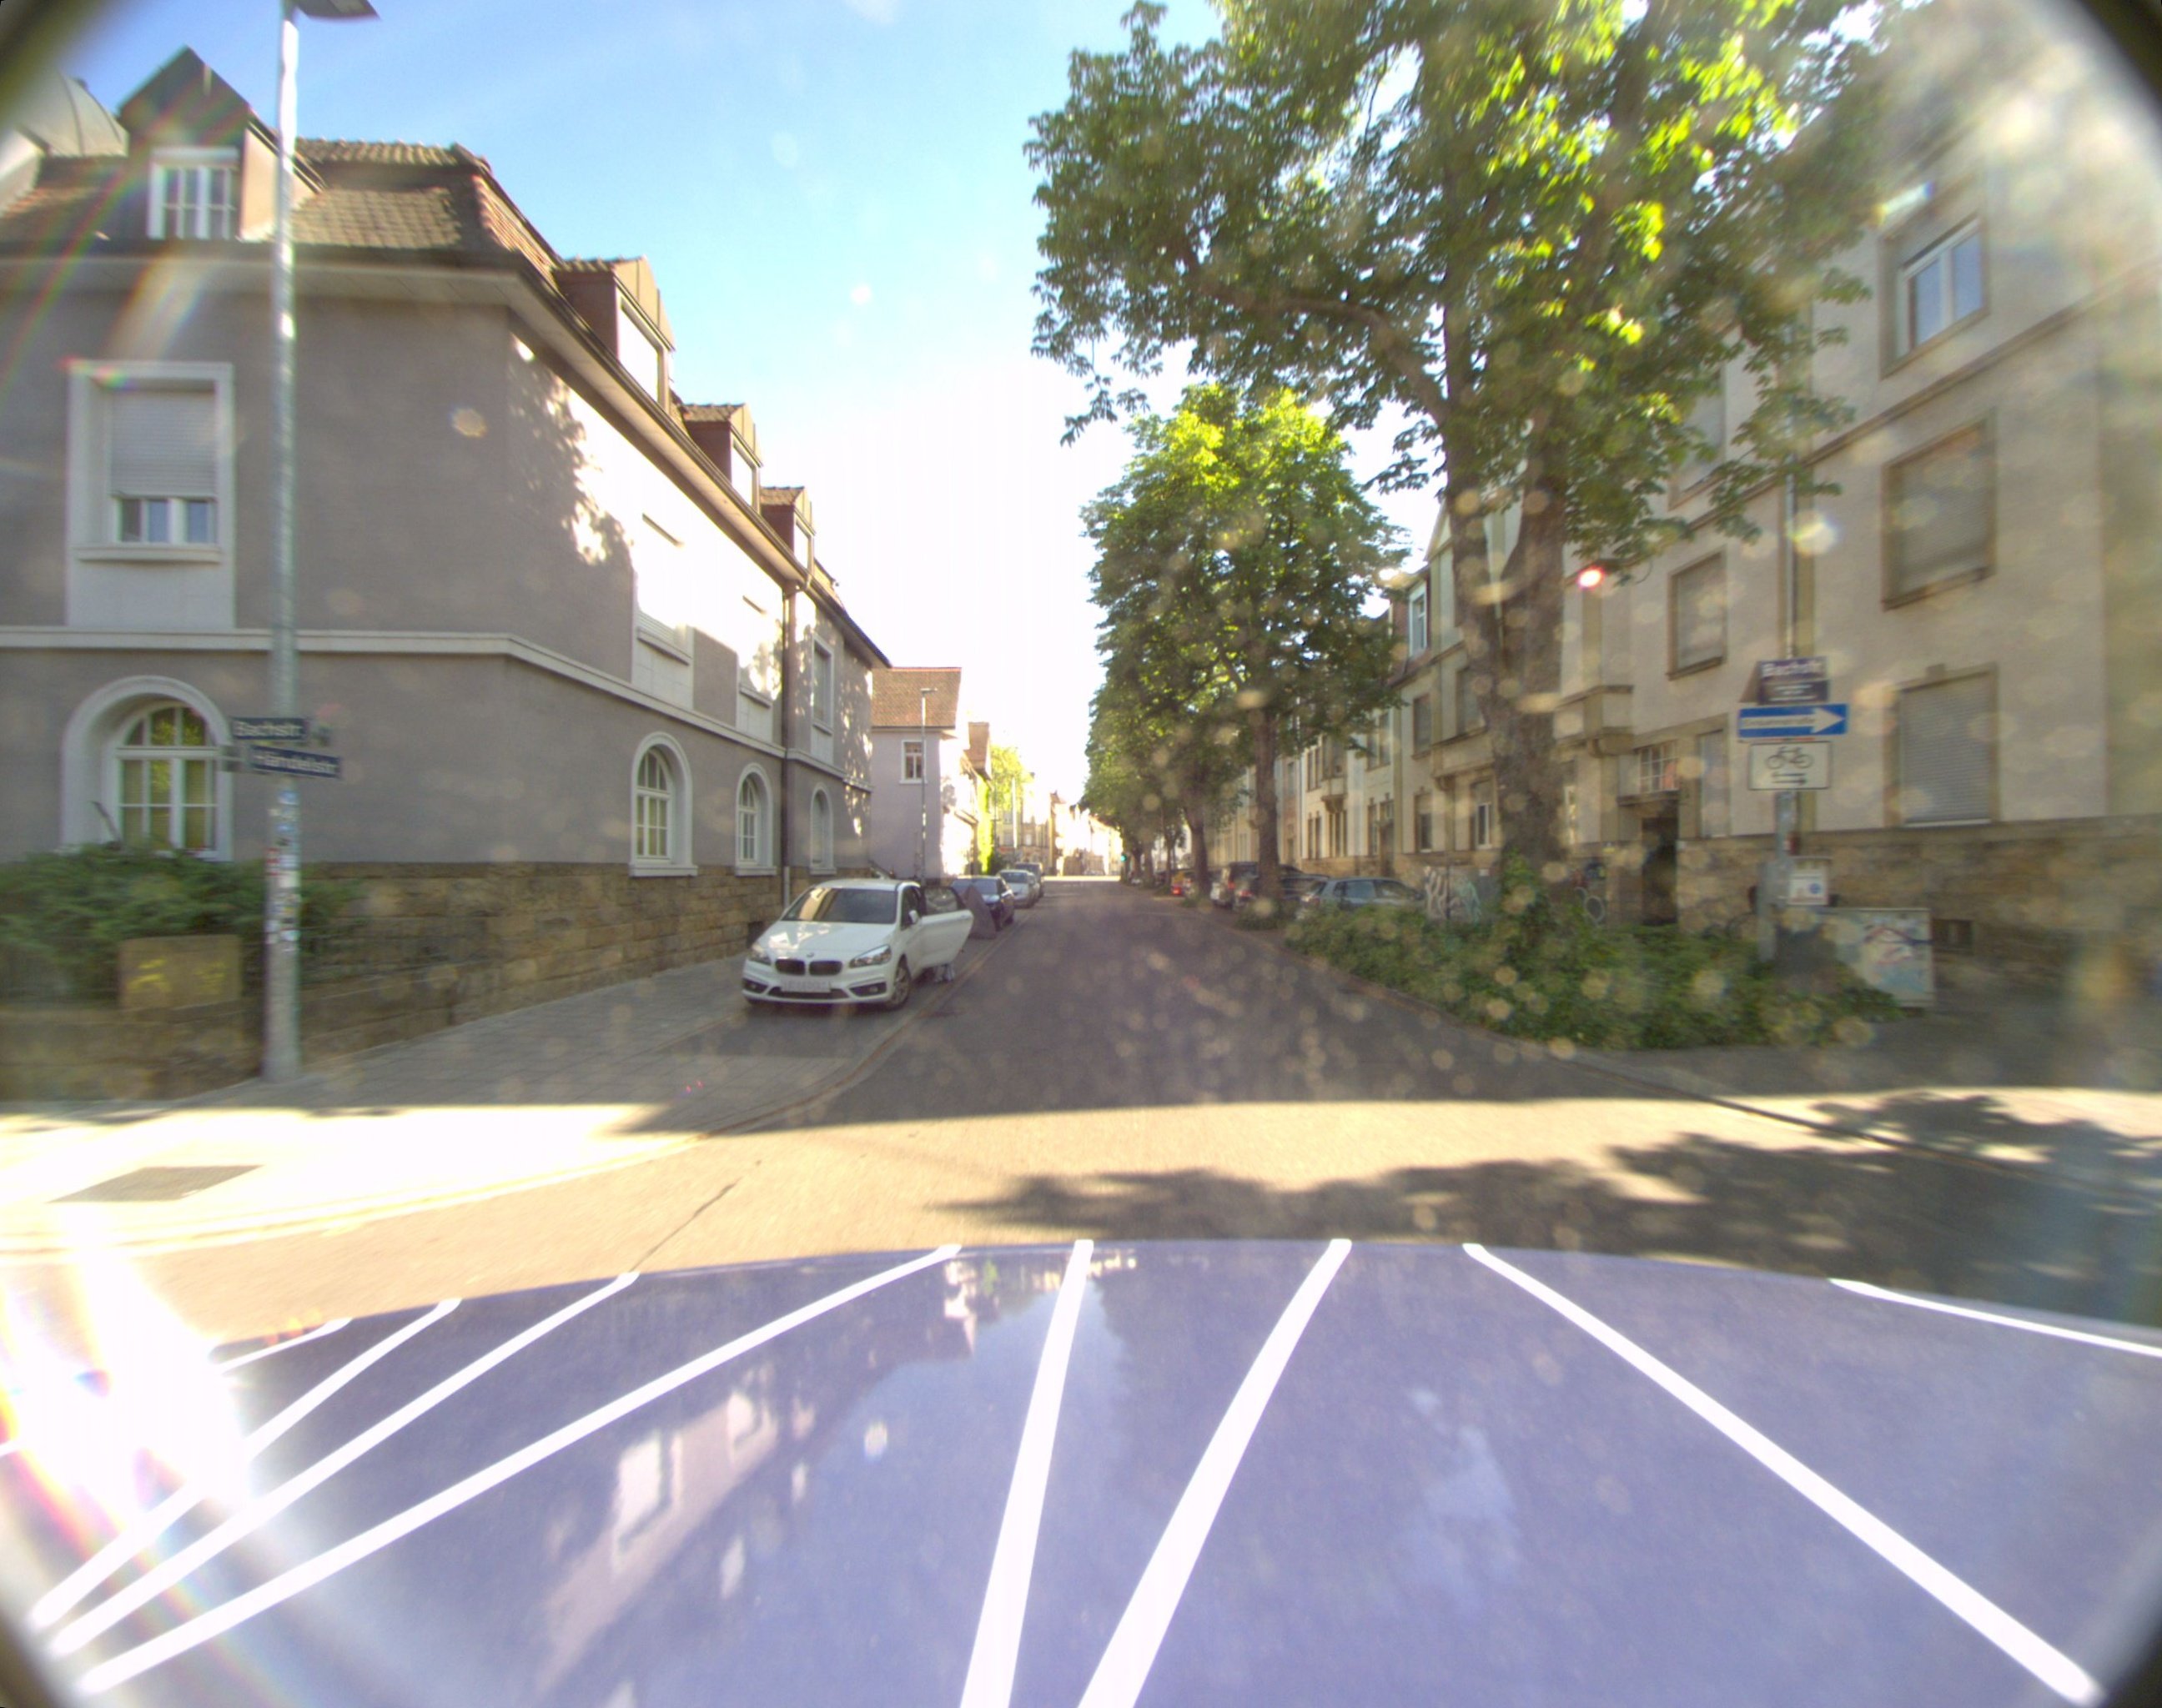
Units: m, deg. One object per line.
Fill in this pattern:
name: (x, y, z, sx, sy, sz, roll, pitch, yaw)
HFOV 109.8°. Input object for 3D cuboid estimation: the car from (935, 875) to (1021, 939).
car: (-2.887, 1.454, 22.164, 1.822, 1.529, 4.161, -2, 0, 1)

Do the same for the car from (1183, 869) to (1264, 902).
car: (6.612, 1.465, 35.418, 3.496, 1.484, 1.441, 0, 0, -1)

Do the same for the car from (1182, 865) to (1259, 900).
car: (6.781, 1.370, 37.244, 3.496, 1.681, 1.461, 0, 0, -1)

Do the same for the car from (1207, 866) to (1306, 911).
car: (6.813, 1.341, 29.724, 3.496, 1.681, 1.682, 0, 0, -1)

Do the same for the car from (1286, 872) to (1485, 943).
car: (7.028, 1.232, 17.892, 3.995, 1.424, 1.804, -2, 1, 7)

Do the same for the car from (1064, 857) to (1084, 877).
car: (-0.637, 1.239, 72.196, 1.845, 1.888, 4.000, 0, -1, 1)

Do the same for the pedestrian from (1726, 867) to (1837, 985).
pedestrian: (10.000, 0.998, 10.884, 0.667, 1.598, 0.979, -1, 0, 0)

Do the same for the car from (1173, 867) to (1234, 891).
car: (7.483, 1.508, 46.613, 3.496, 1.420, 1.542, 0, 0, -1)

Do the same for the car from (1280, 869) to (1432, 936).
car: (7.982, 1.417, 22.468, 3.993, 1.752, 2.002, -2, 1, 14)

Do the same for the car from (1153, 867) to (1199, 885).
car: (7.678, 1.744, 61.576, 3.496, 1.420, 1.542, 0, 0, -1)

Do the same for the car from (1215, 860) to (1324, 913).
car: (6.838, 1.165, 27.798, 3.496, 1.882, 1.821, 0, 0, -1)

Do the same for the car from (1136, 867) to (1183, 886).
car: (6.085, 1.724, 59.128, 3.496, 1.420, 1.542, 0, 0, -1)

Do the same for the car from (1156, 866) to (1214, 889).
car: (6.634, 1.514, 48.849, 3.496, 1.420, 1.542, 0, 0, -1)

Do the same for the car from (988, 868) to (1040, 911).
car: (-2.853, 1.496, 33.248, 1.822, 1.634, 4.161, -2, 0, 1)

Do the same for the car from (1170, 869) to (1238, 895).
car: (6.814, 1.557, 42.328, 3.496, 1.420, 1.542, 0, 0, -1)

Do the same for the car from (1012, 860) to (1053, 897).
car: (-2.791, 1.387, 44.469, 1.998, 1.904, 3.999, -2, 1, 1)

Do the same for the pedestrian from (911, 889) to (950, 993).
pedestrian: (-2.266, 1.289, 11.418, 0.533, 1.519, 0.301, 0, 0, -19)

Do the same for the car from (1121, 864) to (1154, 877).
car: (6.161, 1.813, 82.728, 3.496, 1.420, 1.542, 0, 0, -1)

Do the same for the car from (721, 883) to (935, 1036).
car: (-3.174, 1.235, 10.432, 1.814, 1.546, 4.105, 0, -1, -4)

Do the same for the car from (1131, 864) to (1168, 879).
car: (6.716, 1.722, 74.791, 3.496, 1.420, 1.542, 0, 0, -1)
